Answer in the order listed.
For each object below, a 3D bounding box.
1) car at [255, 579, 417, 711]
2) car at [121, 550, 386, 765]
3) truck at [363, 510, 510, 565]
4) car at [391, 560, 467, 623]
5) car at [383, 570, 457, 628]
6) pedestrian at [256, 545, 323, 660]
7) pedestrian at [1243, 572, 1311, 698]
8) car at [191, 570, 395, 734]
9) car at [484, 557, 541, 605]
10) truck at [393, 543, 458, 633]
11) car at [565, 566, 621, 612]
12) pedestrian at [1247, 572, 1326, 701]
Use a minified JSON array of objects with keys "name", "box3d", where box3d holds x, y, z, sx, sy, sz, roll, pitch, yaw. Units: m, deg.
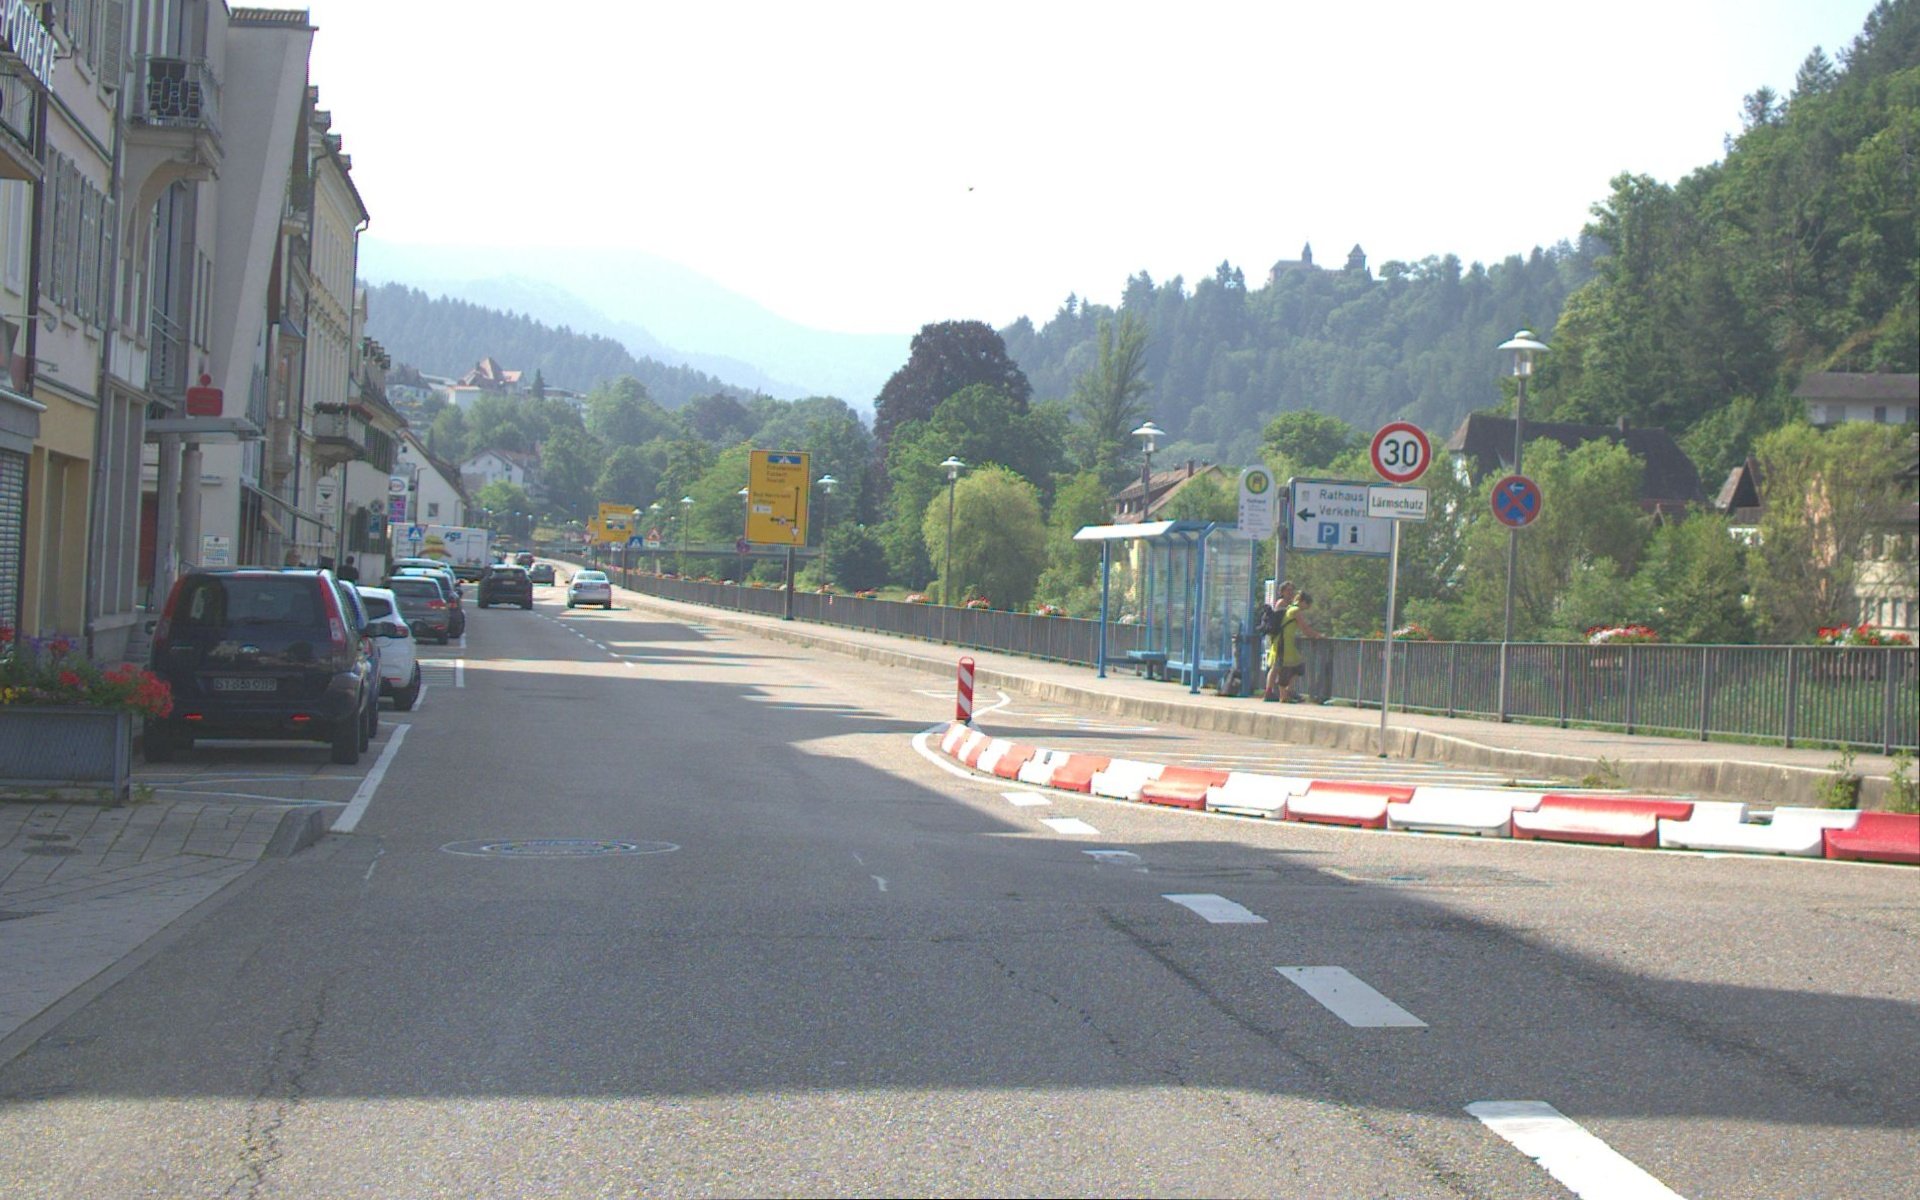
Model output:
[{"name":"car","box3d":[-7.426,0.509,41.162,1.746,1.443,3.796,2,0,-9]},{"name":"car","box3d":[-5.593,0.416,27.574,1.846,1.563,3.569,2,0,-9]},{"name":"truck","box3d":[-34.171,-4.087,224.618,9.178,3.253,3.079,2,1,-40]},{"name":"car","box3d":[-12.790,-0.222,82.843,1.746,1.443,3.277,2,0,-9]},{"name":"car","box3d":[-12.041,-0.027,76.693,1.563,1.216,3.277,2,0,-9]},{"name":"pedestrian","box3d":[-10.024,0.037,51.382,0.689,1.691,0.659,2,0,20]},{"name":"pedestrian","box3d":[4.396,0.485,47.680,0.789,1.700,0.492,3,0,-5]},{"name":"car","box3d":[-6.374,0.463,33.098,1.746,1.443,3.277,2,0,-9]},{"name":"car","box3d":[-16.747,-0.714,128.771,1.993,1.656,4.001,3,0,-7]},{"name":"truck","box3d":[-15.401,-0.360,99.127,1.746,2.459,4.662,2,0,-9]},{"name":"car","box3d":[-14.410,-0.457,134.834,1.993,1.656,4.001,3,0,-7]},{"name":"pedestrian","box3d":[4.458,0.493,47.025,0.866,1.700,0.777,3,0,-5]}]
